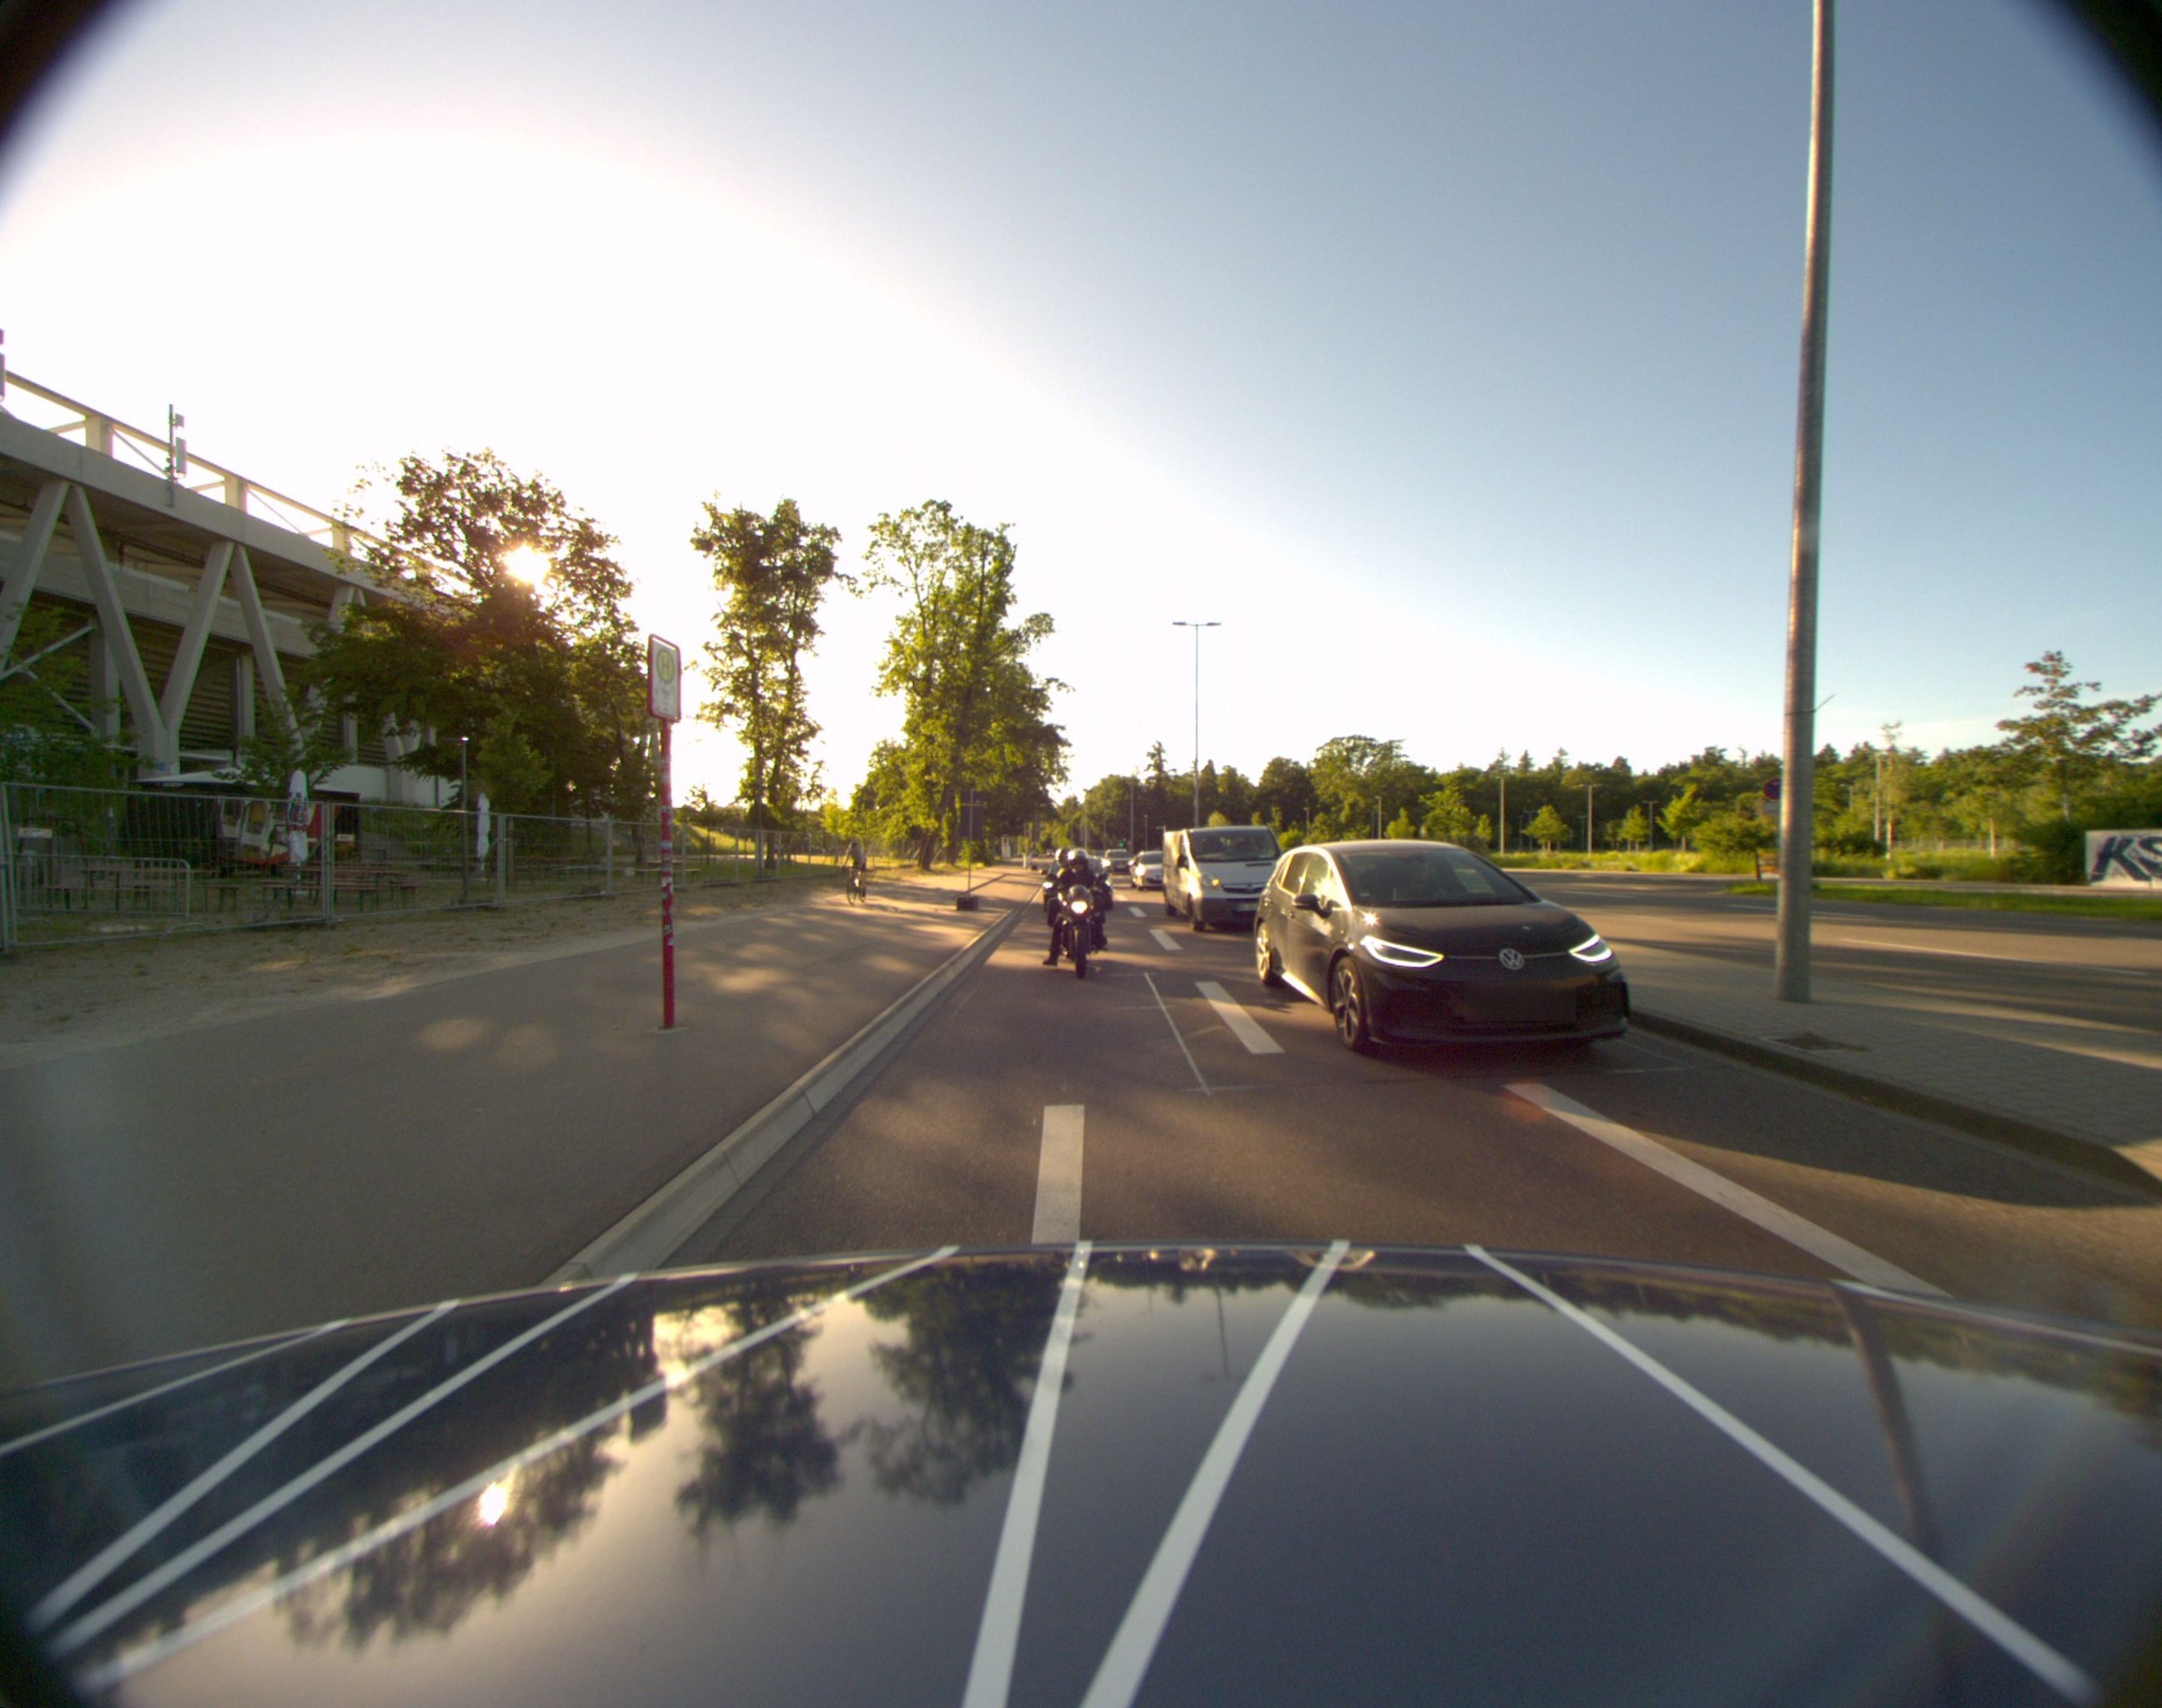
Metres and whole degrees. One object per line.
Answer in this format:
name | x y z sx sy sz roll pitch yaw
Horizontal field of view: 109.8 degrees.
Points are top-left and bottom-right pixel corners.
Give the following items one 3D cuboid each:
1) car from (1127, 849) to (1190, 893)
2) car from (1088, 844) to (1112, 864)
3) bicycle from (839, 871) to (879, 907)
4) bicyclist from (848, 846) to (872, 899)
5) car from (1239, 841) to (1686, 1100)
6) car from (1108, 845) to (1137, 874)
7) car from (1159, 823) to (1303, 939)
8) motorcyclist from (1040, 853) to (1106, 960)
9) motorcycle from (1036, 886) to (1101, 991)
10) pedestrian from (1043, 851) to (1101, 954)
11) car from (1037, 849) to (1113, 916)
car | 2.971 0.619 30.079 1.883 1.515 5.048 -2 0 -1
car | 1.618 0.024 66.664 1.883 1.629 5.048 -2 0 -1
bicycle | -5.958 0.925 20.479 0.481 0.854 1.909 0 1 1
bicyclist | -5.954 0.480 20.506 0.451 1.412 0.575 0 1 1
car | 2.791 0.694 6.716 1.883 1.528 3.999 -2 1 -1
car | 2.585 0.341 48.439 1.638 1.674 3.999 -2 1 1
car | 2.874 0.465 15.759 1.883 1.951 5.048 -2 0 -1
motorcyclist | -0.102 0.696 10.255 0.822 1.367 0.476 -2 2 0
motorcycle | -0.130 1.054 10.289 0.717 1.058 2.721 -2 1 1
pedestrian | -0.125 0.676 10.775 0.739 1.387 0.500 -2 2 0
car | -0.171 0.711 21.841 1.883 1.629 5.048 -2 0 -1
